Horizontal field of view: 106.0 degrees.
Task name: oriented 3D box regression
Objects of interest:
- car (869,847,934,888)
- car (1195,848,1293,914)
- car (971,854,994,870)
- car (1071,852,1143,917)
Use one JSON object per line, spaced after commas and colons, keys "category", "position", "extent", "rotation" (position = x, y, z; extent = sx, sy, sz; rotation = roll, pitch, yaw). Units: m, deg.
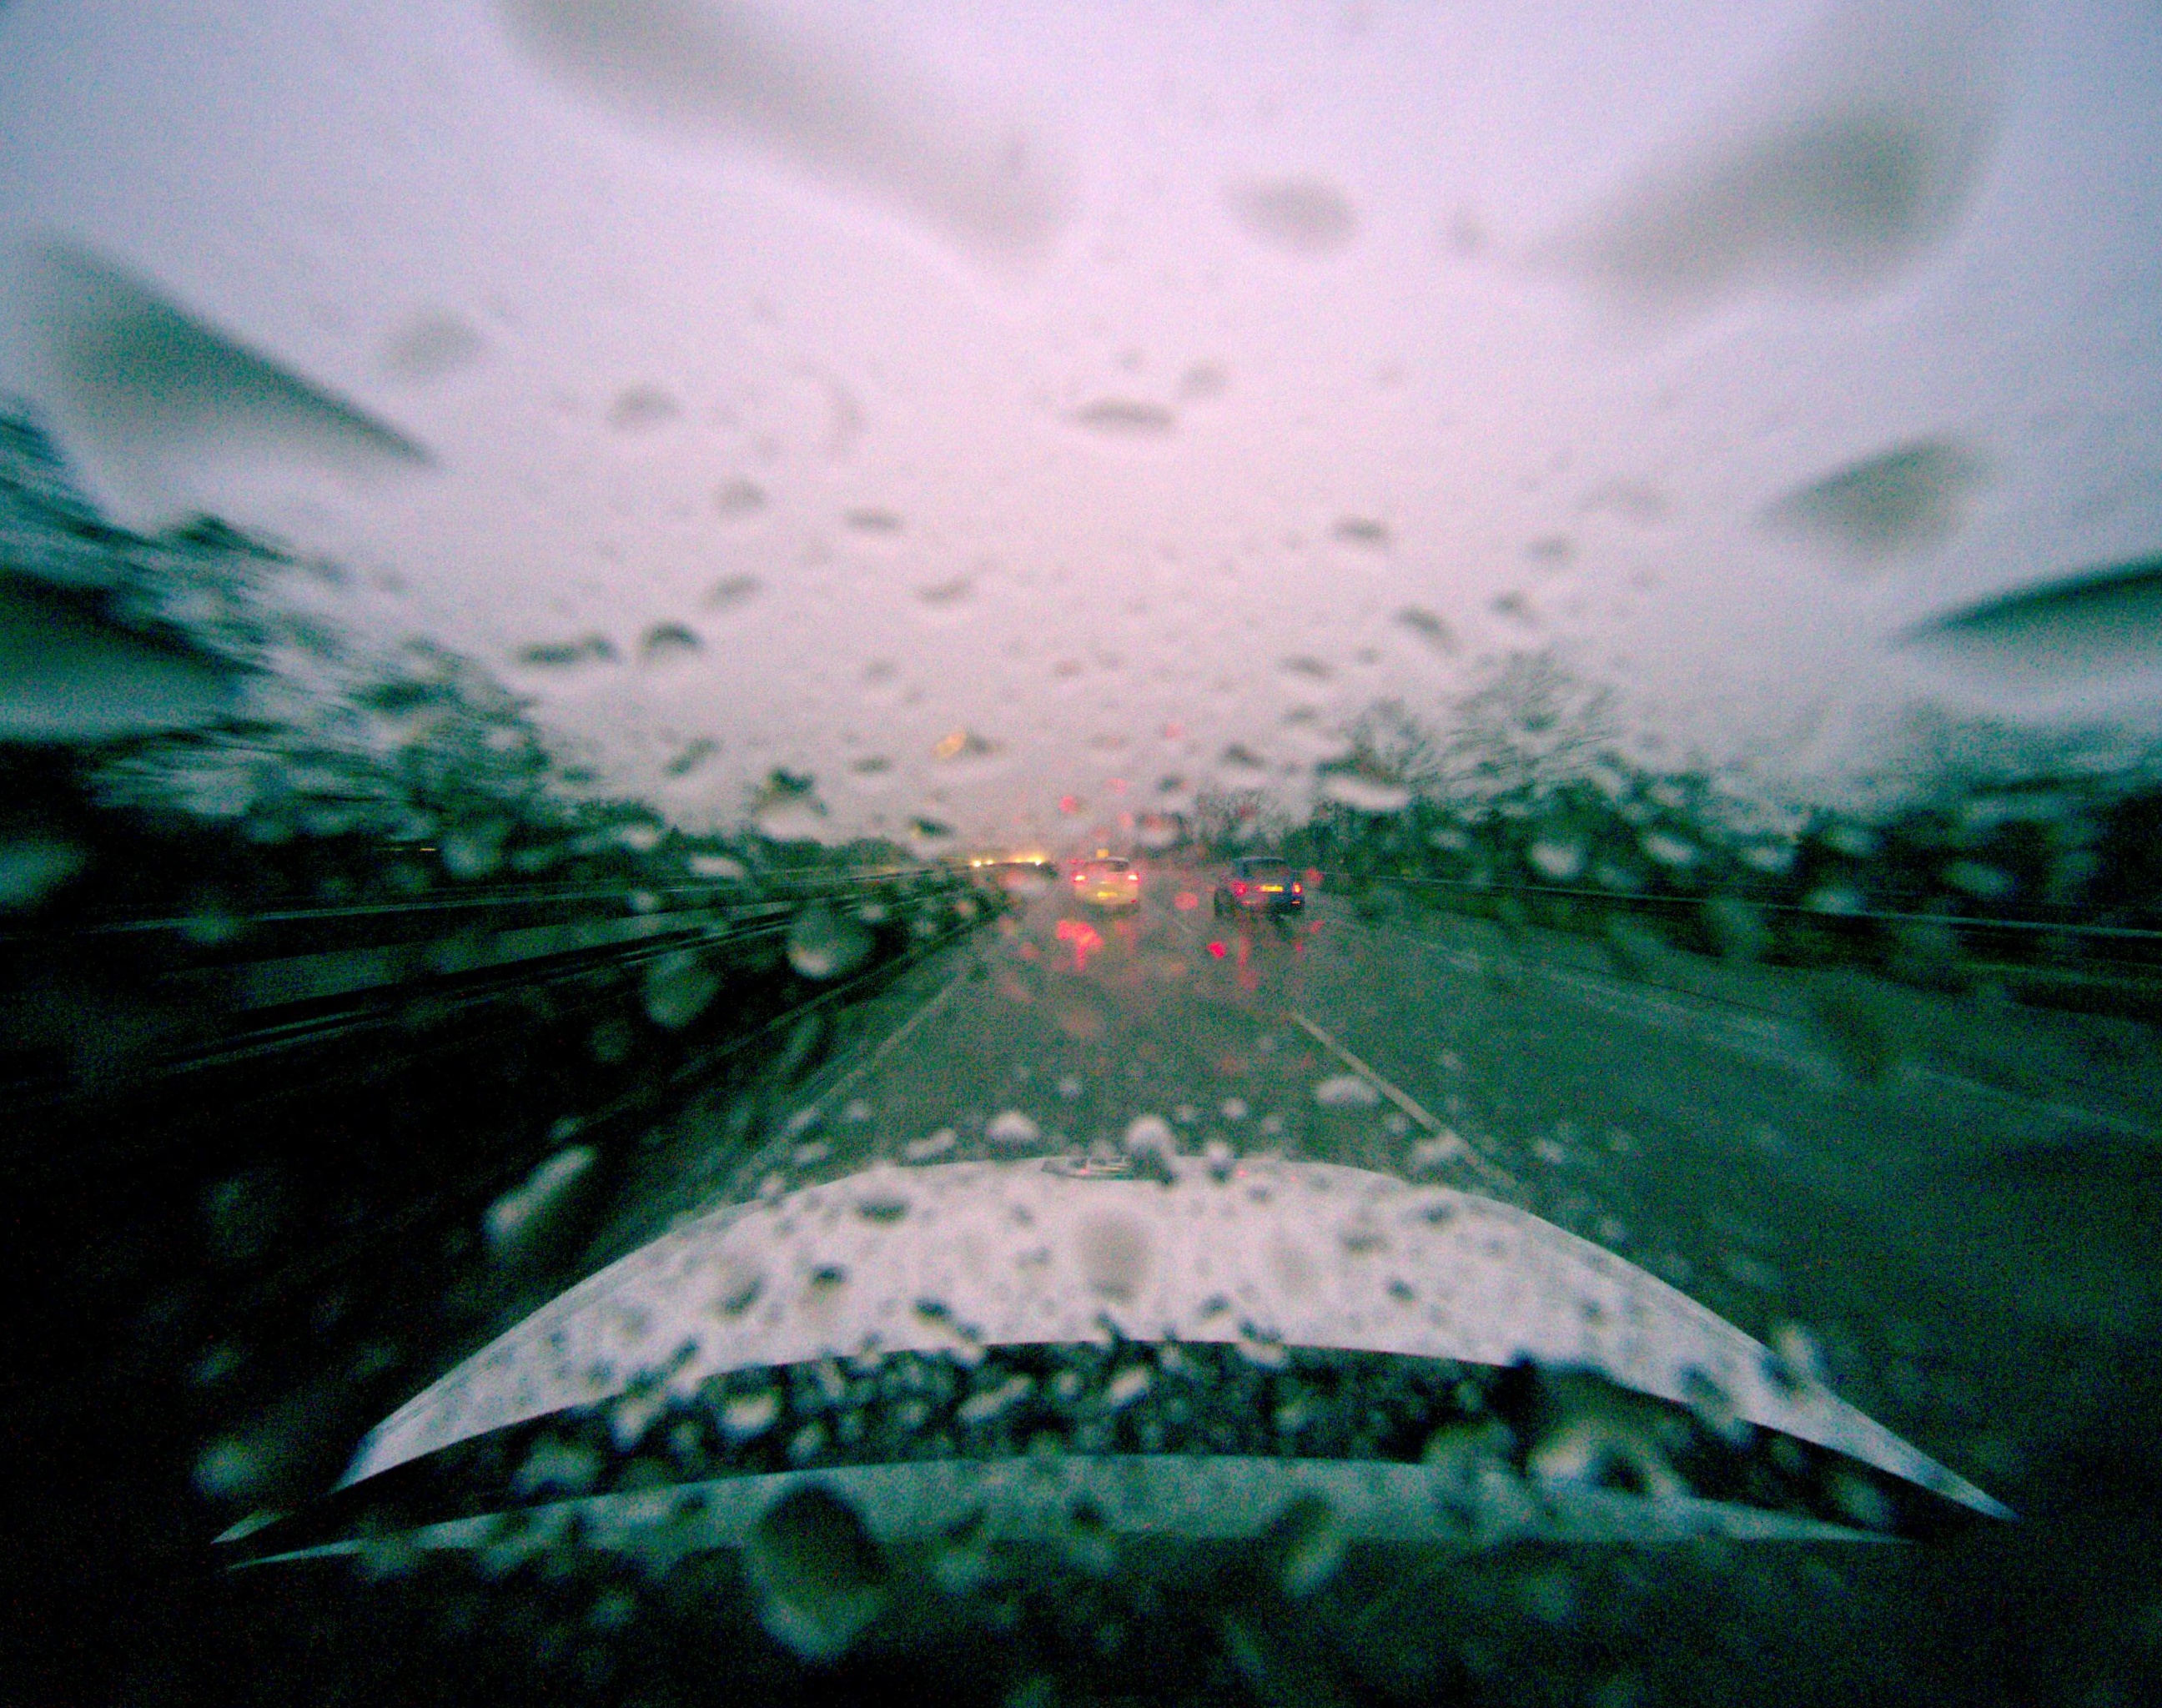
{"category": "car", "position": [-7.617, 0.559, 34.977], "extent": [1.733, 1.640, 4.002], "rotation": [1, 0, 2]}
{"category": "car", "position": [3.933, 0.599, 20.282], "extent": [1.838, 1.453, 4.152], "rotation": [-1, 0, 3]}
{"category": "car", "position": [-11.596, 0.939, 96.086], "extent": [1.887, 1.784, 4.708], "rotation": [0, 0, 3]}
{"category": "car", "position": [0.725, 0.779, 22.925], "extent": [1.838, 1.636, 3.769], "rotation": [-1, 0, 2]}
